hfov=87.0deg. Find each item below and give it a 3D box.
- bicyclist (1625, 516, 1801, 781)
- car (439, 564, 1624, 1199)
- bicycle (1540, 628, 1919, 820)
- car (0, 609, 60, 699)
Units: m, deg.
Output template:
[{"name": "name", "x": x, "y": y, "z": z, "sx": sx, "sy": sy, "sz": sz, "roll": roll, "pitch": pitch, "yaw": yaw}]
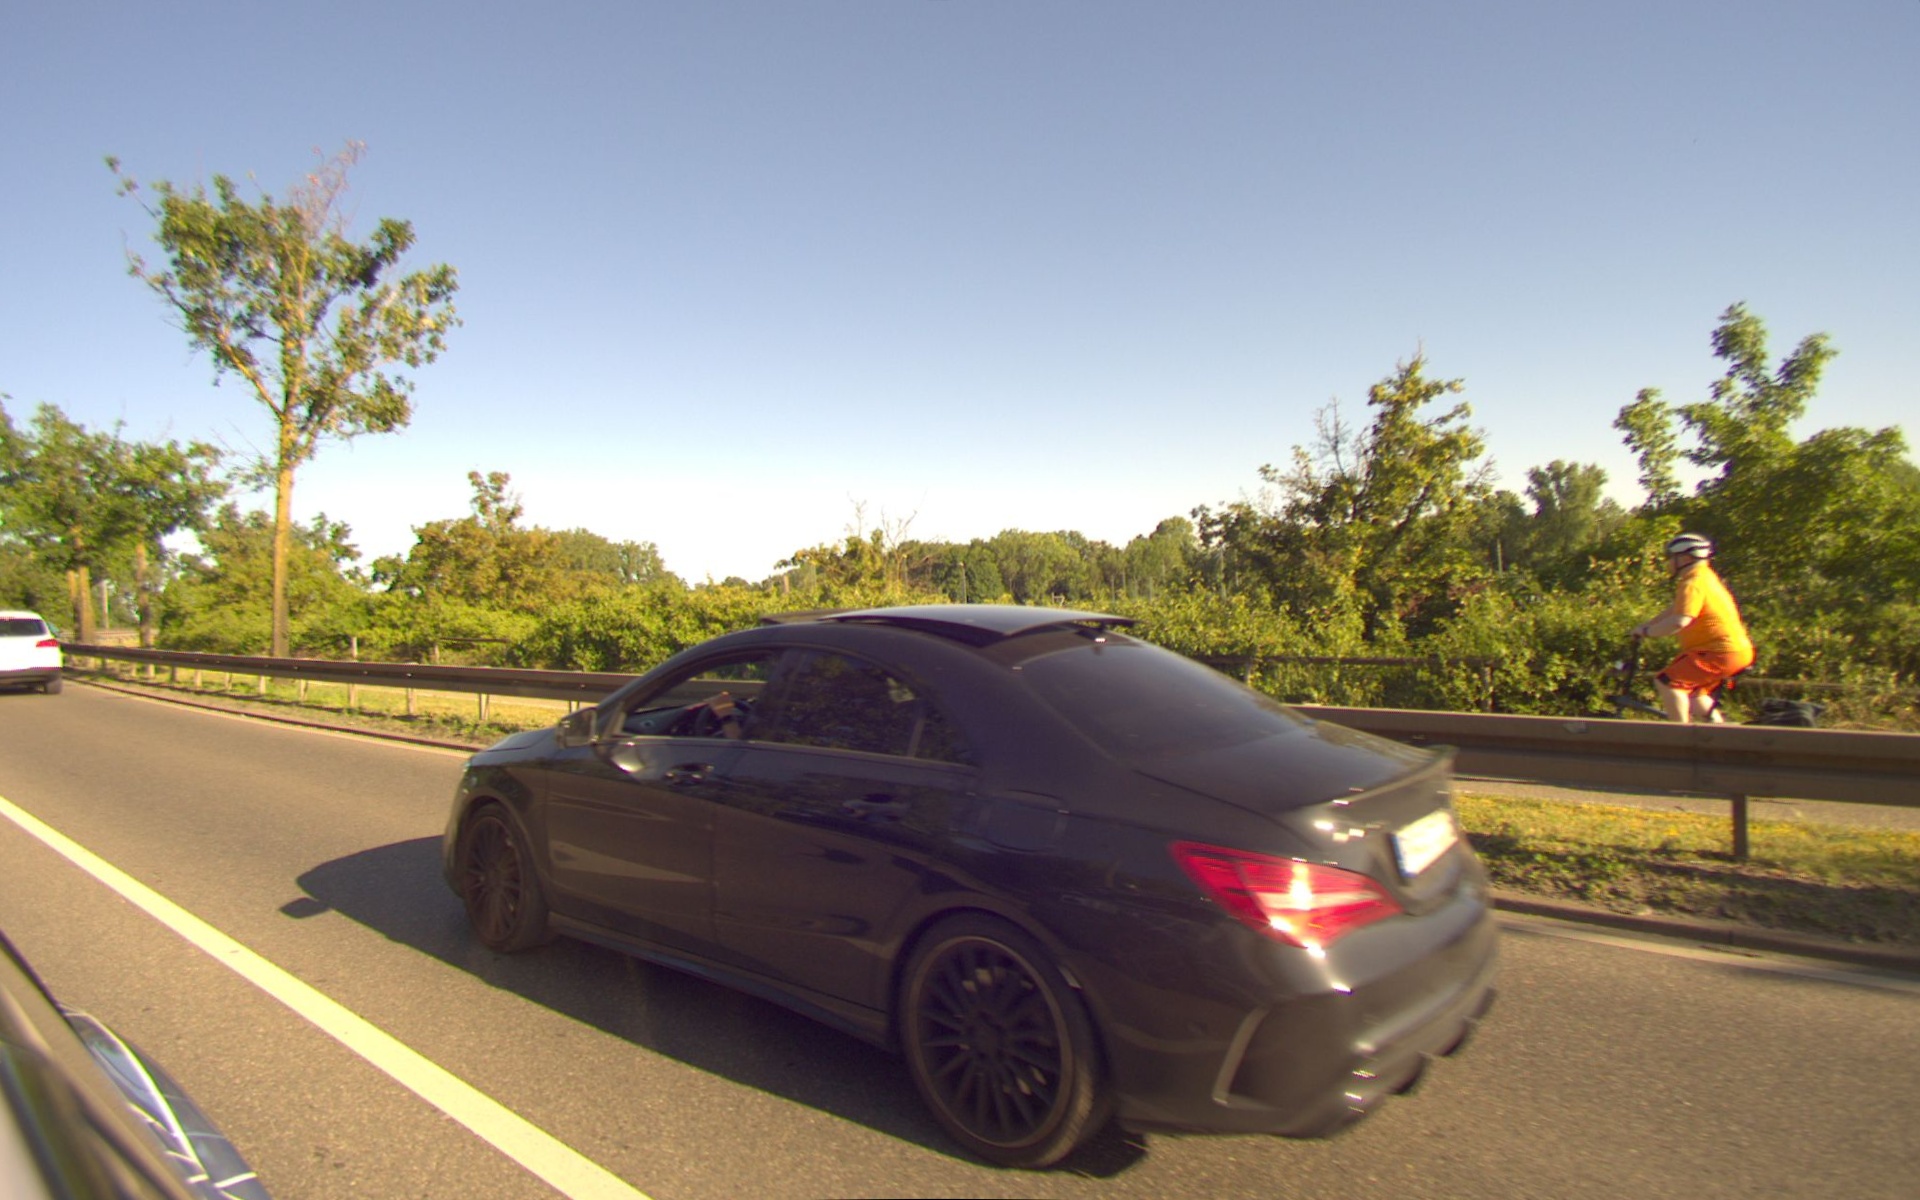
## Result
[{"name": "bicyclist", "x": 5.030, "y": 0.304, "z": 6.780, "sx": 0.873, "sy": 1.635, "sz": 0.645, "roll": -2, "pitch": -1, "yaw": 39}, {"name": "car", "x": -0.172, "y": 0.703, "z": 3.752, "sx": 4.213, "sy": 1.452, "sz": 1.674, "roll": -2, "pitch": -1, "yaw": 41}, {"name": "bicycle", "x": 5.121, "y": 0.747, "z": 6.728, "sx": 2.106, "sy": 1.103, "sz": 0.654, "roll": -2, "pitch": -1, "yaw": 39}, {"name": "car", "x": -19.466, "y": 1.047, "z": 20.110, "sx": 3.977, "sy": 1.671, "sz": 1.712, "roll": -2, "pitch": -1, "yaw": 38}]
